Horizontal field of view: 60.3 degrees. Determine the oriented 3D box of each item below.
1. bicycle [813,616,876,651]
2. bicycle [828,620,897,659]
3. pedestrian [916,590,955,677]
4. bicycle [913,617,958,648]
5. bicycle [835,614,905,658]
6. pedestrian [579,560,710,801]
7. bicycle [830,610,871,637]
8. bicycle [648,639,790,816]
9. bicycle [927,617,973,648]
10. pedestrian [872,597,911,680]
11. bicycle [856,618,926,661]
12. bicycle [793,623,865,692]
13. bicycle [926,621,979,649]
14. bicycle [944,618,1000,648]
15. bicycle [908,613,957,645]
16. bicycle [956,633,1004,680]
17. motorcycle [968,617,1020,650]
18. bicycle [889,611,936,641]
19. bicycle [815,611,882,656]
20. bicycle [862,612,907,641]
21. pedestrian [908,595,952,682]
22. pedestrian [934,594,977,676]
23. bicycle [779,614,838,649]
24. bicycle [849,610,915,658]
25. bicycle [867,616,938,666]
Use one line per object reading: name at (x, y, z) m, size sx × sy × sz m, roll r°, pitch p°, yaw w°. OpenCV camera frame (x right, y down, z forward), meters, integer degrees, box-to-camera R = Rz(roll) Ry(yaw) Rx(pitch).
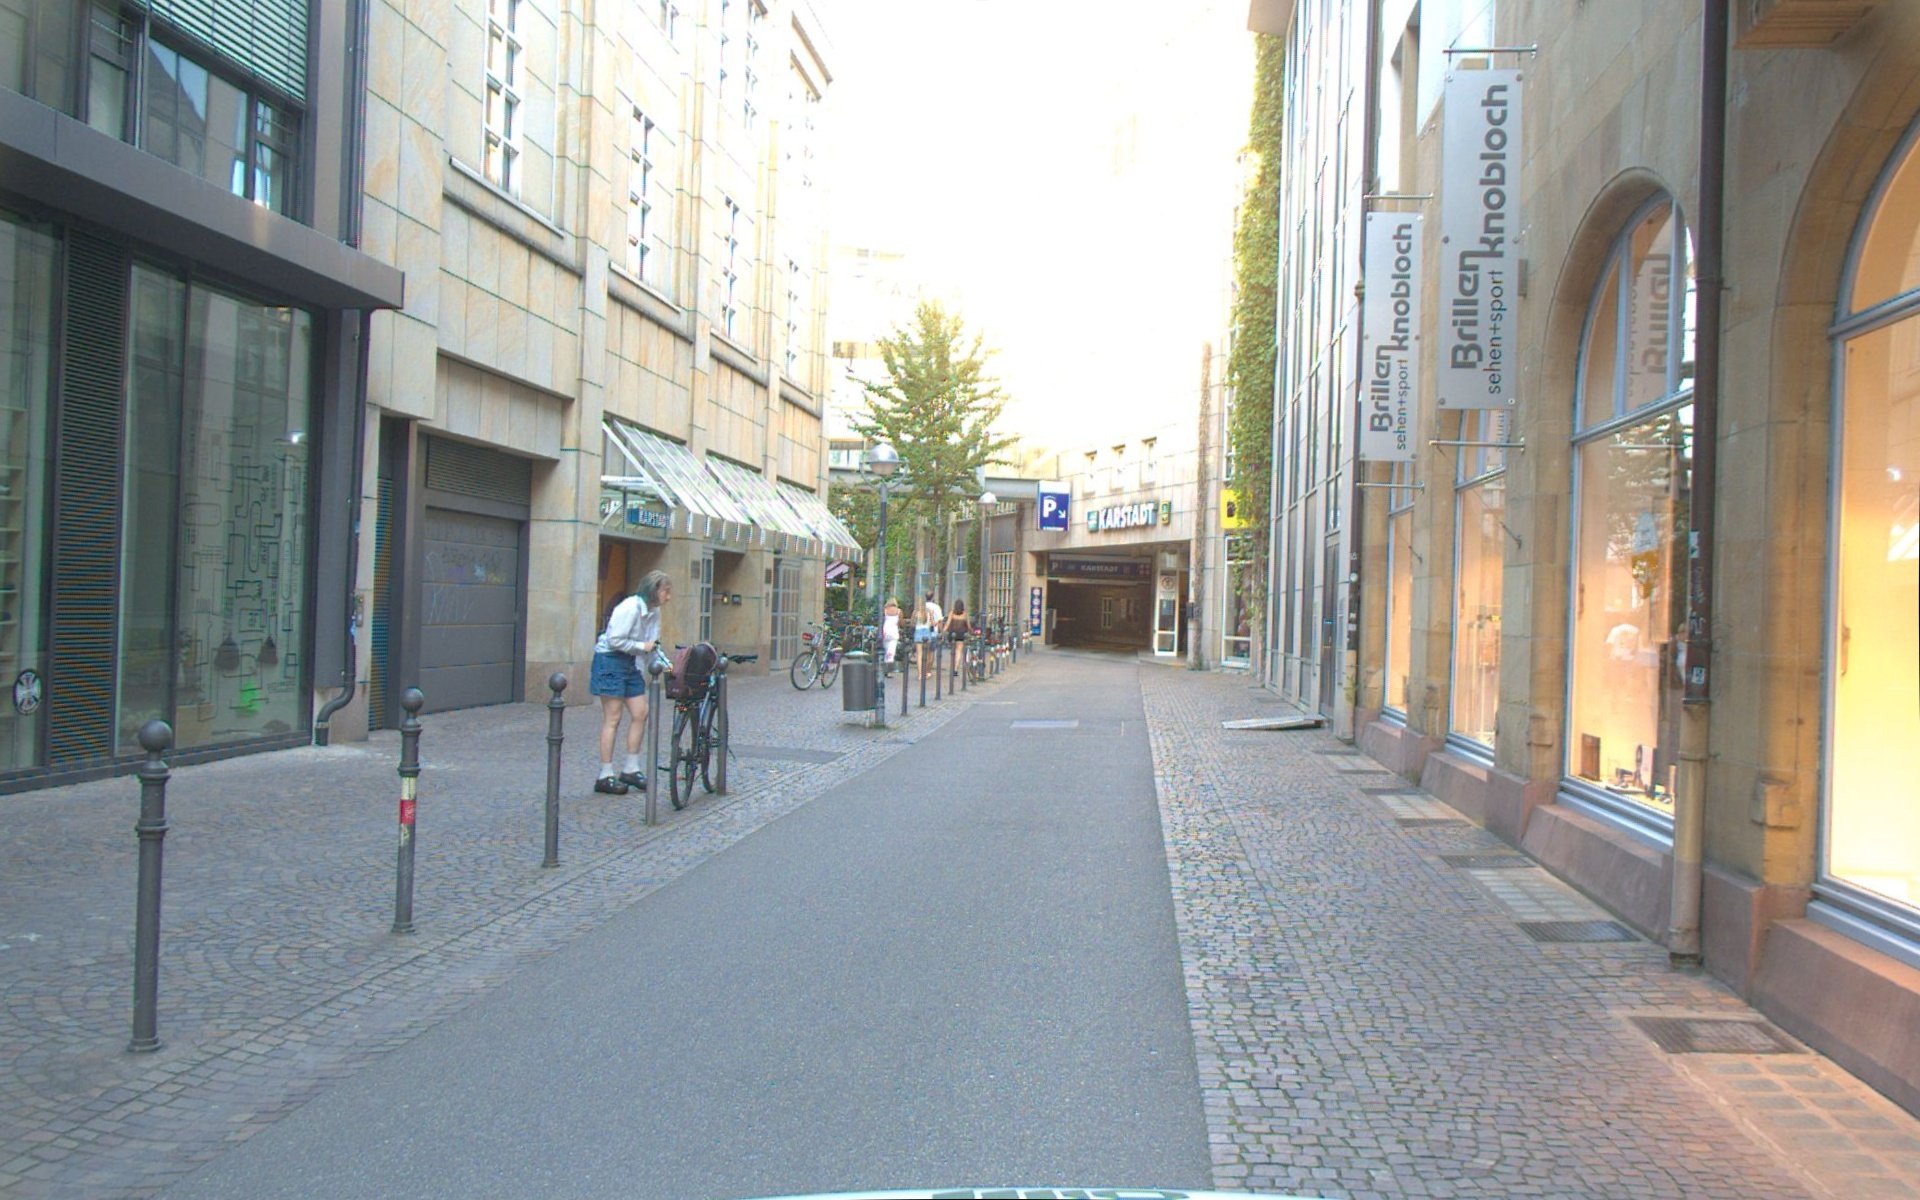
bicycle at (-3.541, 1.022, 50.521) m, size 1.847 × 1.061 × 0.531 m, roll 1°, pitch 0°, yaw -17°
bicycle at (-2.708, 1.093, 45.963) m, size 1.864 × 1.070 × 0.531 m, roll 1°, pitch 0°, yaw -17°
pedestrian at (-0.525, 0.727, 35.968) m, size 0.726 × 1.854 × 0.878 m, roll 1°, pitch 0°, yaw 4°
bicycle at (-0.871, 1.142, 58.766) m, size 1.514 × 1.067 × 0.573 m, roll 1°, pitch 0°, yaw -15°
bicycle at (-2.483, 0.994, 45.410) m, size 1.842 × 1.198 × 0.531 m, roll 1°, pitch 0°, yaw -17°
pedestrian at (-2.389, 0.596, 12.592) m, size 0.751 × 1.748 × 0.592 m, roll 3°, pitch 0°, yaw 5°
bicycle at (-4.850, 1.034, 73.113) m, size 1.742 × 1.134 × 0.541 m, roll 1°, pitch 0°, yaw -13°
bicycle at (-1.781, 0.911, 12.509) m, size 0.521 × 1.174 × 1.916 m, roll 3°, pitch 0°, yaw 7°
bicycle at (-0.344, 1.125, 57.735) m, size 1.514 × 1.067 × 0.573 m, roll 1°, pitch 0°, yaw -15°
pedestrian at (-1.432, 0.803, 34.514) m, size 0.660 × 1.693 × 0.861 m, roll 2°, pitch 0°, yaw 5°
bicycle at (-1.860, 1.060, 44.393) m, size 1.807 × 1.142 × 0.531 m, roll 1°, pitch 0°, yaw -17°
bicycle at (-2.275, 0.986, 28.926) m, size 0.511 × 1.158 × 1.764 m, roll 1°, pitch 0°, yaw 21°
bicycle at (-0.243, 1.186, 56.590) m, size 1.744 × 0.920 × 0.462 m, roll 1°, pitch 0°, yaw -15°
bicycle at (0.411, 1.122, 55.855) m, size 1.817 × 0.999 × 0.462 m, roll 1°, pitch 0°, yaw -15°
bicycle at (-1.031, 1.083, 61.364) m, size 1.744 × 1.134 × 0.540 m, roll 1°, pitch 0°, yaw -15°
bicycle at (0.442, 1.209, 35.528) m, size 0.483 × 0.955 × 1.659 m, roll 2°, pitch 0°, yaw 20°
motorcycle at (1.112, 1.095, 54.156) m, size 1.635 × 1.069 × 0.462 m, roll 1°, pitch 0°, yaw -15°
bicycle at (-1.868, 1.023, 64.766) m, size 1.744 × 1.134 × 0.540 m, roll 1°, pitch 0°, yaw -15°
bicycle at (-3.150, 0.934, 46.683) m, size 1.804 × 1.246 × 0.531 m, roll 1°, pitch 0°, yaw -17°
bicycle at (-3.072, 1.084, 67.144) m, size 1.744 × 1.134 × 0.540 m, roll 1°, pitch 0°, yaw -15°
pedestrian at (-0.624, 0.790, 34.399) m, size 0.789 × 1.760 × 0.949 m, roll 2°, pitch 0°, yaw 4°
pedestrian at (-0.091, 0.776, 37.488) m, size 0.768 × 1.826 × 0.973 m, roll 1°, pitch 0°, yaw 11°
bicycle at (-4.788, 0.995, 52.404) m, size 1.796 × 1.061 × 0.531 m, roll 1°, pitch 0°, yaw -17°
bicycle at (-2.052, 0.901, 43.517) m, size 1.627 × 1.252 × 0.531 m, roll 1°, pitch 0°, yaw -17°
bicycle at (-1.473, 1.042, 42.177) m, size 1.738 × 1.252 × 0.531 m, roll 1°, pitch 0°, yaw -17°
